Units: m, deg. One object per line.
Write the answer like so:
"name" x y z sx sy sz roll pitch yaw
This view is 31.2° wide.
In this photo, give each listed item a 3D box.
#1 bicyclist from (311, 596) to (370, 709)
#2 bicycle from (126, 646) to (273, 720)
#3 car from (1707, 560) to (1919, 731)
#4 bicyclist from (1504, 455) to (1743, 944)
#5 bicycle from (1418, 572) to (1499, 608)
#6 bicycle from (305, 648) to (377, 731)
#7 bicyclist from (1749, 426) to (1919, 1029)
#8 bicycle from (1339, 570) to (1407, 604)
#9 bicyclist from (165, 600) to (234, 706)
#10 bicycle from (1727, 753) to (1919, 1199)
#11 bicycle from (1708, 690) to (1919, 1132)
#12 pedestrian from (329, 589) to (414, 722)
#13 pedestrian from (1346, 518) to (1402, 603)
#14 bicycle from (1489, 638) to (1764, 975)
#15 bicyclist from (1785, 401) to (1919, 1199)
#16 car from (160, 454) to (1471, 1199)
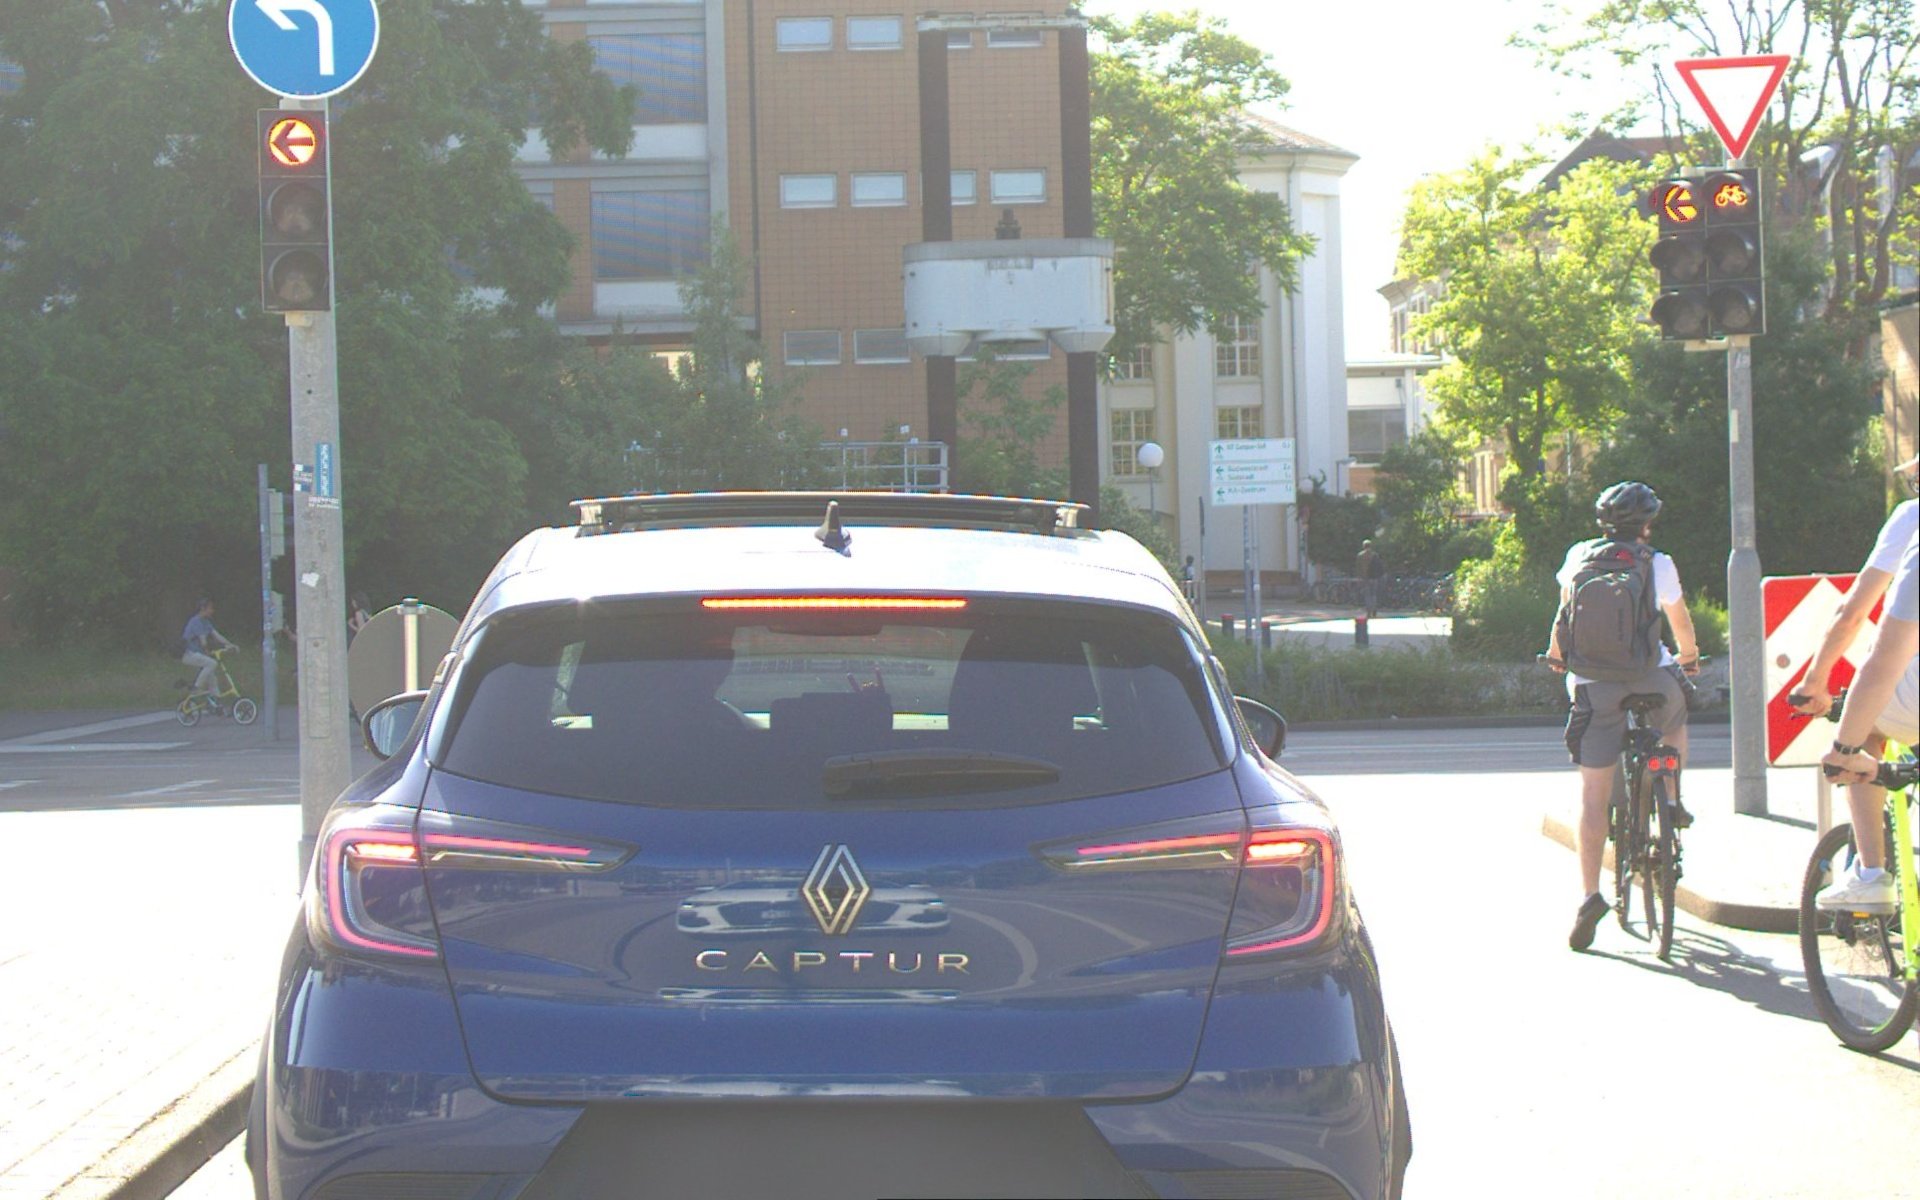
"bicyclist" -7.913 0.675 43.898 0.647 1.407 0.639 -1 -2 -16
"bicycle" -10.298 1.127 46.540 1.867 0.955 0.623 -1 1 19
"car" 9.884 0.395 33.583 4.865 1.588 1.938 -1 1 7
"bicyclist" 2.494 0.361 13.013 0.676 1.779 0.940 1 0 -2
"bicycle" 12.031 -0.238 83.042 1.770 0.820 0.766 -1 1 -10
"bicycle" -7.919 1.148 43.951 0.698 1.004 1.868 -2 -2 -16
"bicyclist" 2.676 0.330 9.550 0.674 1.577 1.081 1 1 -1
"bicycle" 11.401 -0.352 94.844 1.771 0.895 0.765 -1 1 0
"bicyclist" -10.293 0.715 46.525 0.637 1.407 0.648 -1 1 19
"bicycle" 2.242 0.904 7.252 0.747 1.047 1.903 -1 1 -2
"bicycle" 2.667 0.817 9.634 0.671 1.047 1.844 1 1 -2
"pedestrian" -8.296 0.777 48.500 0.932 1.849 0.807 -1 1 9
"pedestrian" 9.917 -0.945 82.377 1.156 2.007 1.164 -1 1 0
"bicycle" 2.481 0.734 12.982 0.615 1.134 1.826 0 1 -2
"bicyclist" 2.226 0.431 7.195 0.740 1.668 0.866 -1 1 -2
"car" -0.250 0.594 6.657 1.794 1.649 3.853 0 1 -2
